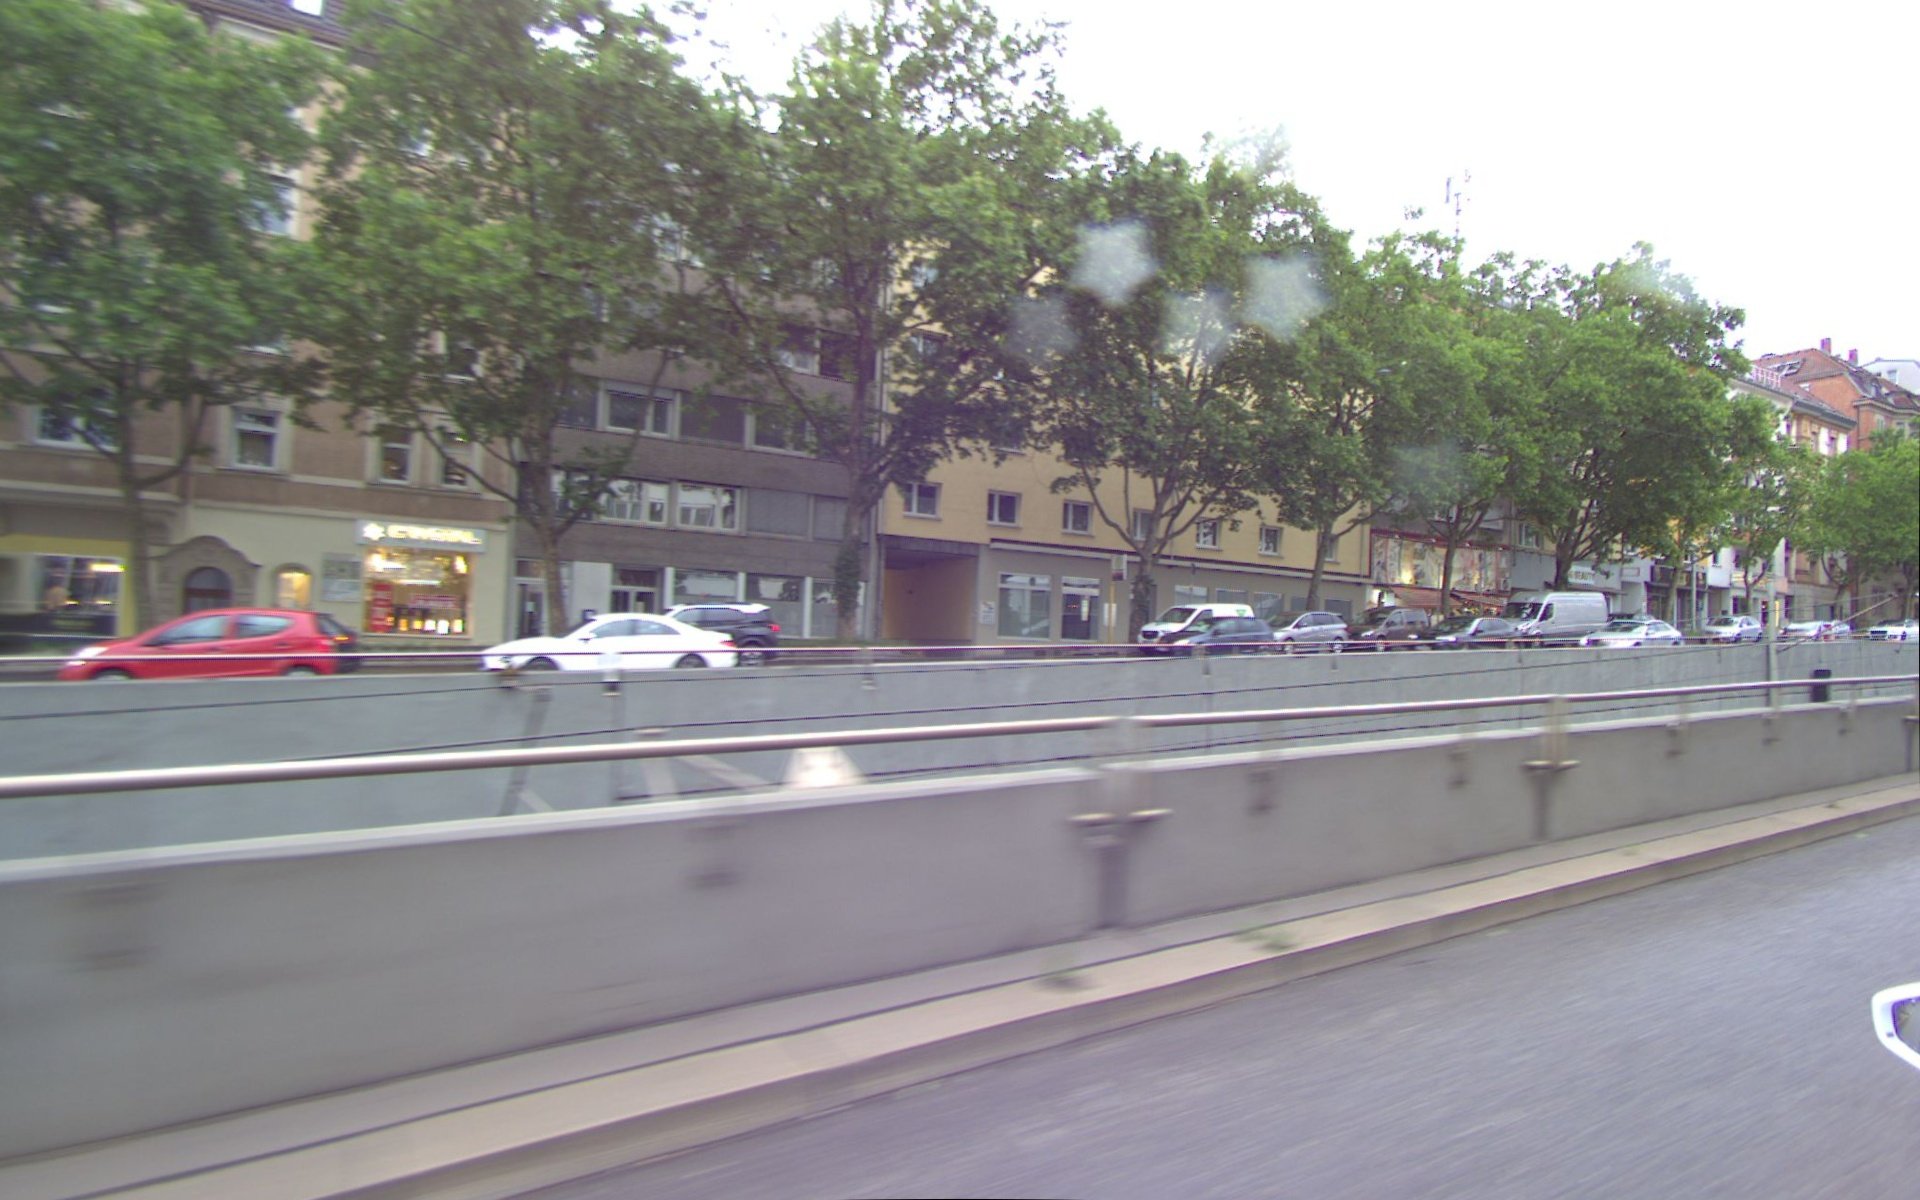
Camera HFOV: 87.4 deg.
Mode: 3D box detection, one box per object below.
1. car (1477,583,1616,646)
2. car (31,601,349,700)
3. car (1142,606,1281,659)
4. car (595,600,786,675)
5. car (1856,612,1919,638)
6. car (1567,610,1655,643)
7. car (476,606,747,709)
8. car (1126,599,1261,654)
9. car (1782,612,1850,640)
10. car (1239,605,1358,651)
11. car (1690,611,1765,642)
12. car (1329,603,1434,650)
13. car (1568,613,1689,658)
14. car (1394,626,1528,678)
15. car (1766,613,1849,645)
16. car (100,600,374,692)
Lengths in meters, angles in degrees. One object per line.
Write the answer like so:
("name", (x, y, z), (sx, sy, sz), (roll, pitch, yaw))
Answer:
("car", (26.959, 0.666, 46.110), (6.850, 2.698, 2.440), (1, 0, -30))
("car", (-12.068, 0.786, 16.094), (3.837, 1.419, 1.576), (2, -1, -32))
("car", (7.931, 1.022, 31.678), (4.001, 1.571, 1.693), (1, 0, -21))
("car", (-6.230, 0.826, 23.315), (3.969, 1.601, 1.785), (1, 0, -30))
("car", (60.191, 1.605, 64.917), (5.138, 1.622, 1.917), (1, 0, -31))
("car", (32.089, 1.306, 49.481), (4.617, 1.530, 1.785), (1, 0, -30))
("car", (-6.648, 1.072, 19.319), (4.675, 1.793, 1.786), (2, -1, -30))
("car", (8.268, 0.894, 35.360), (4.850, 1.788, 1.865), (1, 0, -34))
("car", (50.815, 1.533, 59.594), (4.158, 1.530, 1.786), (1, 0, -30))
("car", (12.785, 1.040, 37.836), (4.422, 1.604, 1.867), (1, 0, -32))
("car", (41.687, 1.404, 54.542), (4.158, 1.592, 1.786), (1, 0, -30))
("car", (16.809, 1.021, 40.007), (4.160, 1.752, 1.784), (1, 0, -33))
("car", (24.936, 1.297, 37.437), (4.763, 1.530, 1.838), (1, 0, -30))
("car", (16.104, 1.656, 32.254), (4.293, 1.530, 1.786), (2, -1, -30))
("car", (42.605, 1.443, 50.507), (3.966, 1.530, 1.839), (1, 0, -28))
("car", (-13.257, 0.801, 18.706), (3.958, 1.530, 1.783), (1, -1, -34))
